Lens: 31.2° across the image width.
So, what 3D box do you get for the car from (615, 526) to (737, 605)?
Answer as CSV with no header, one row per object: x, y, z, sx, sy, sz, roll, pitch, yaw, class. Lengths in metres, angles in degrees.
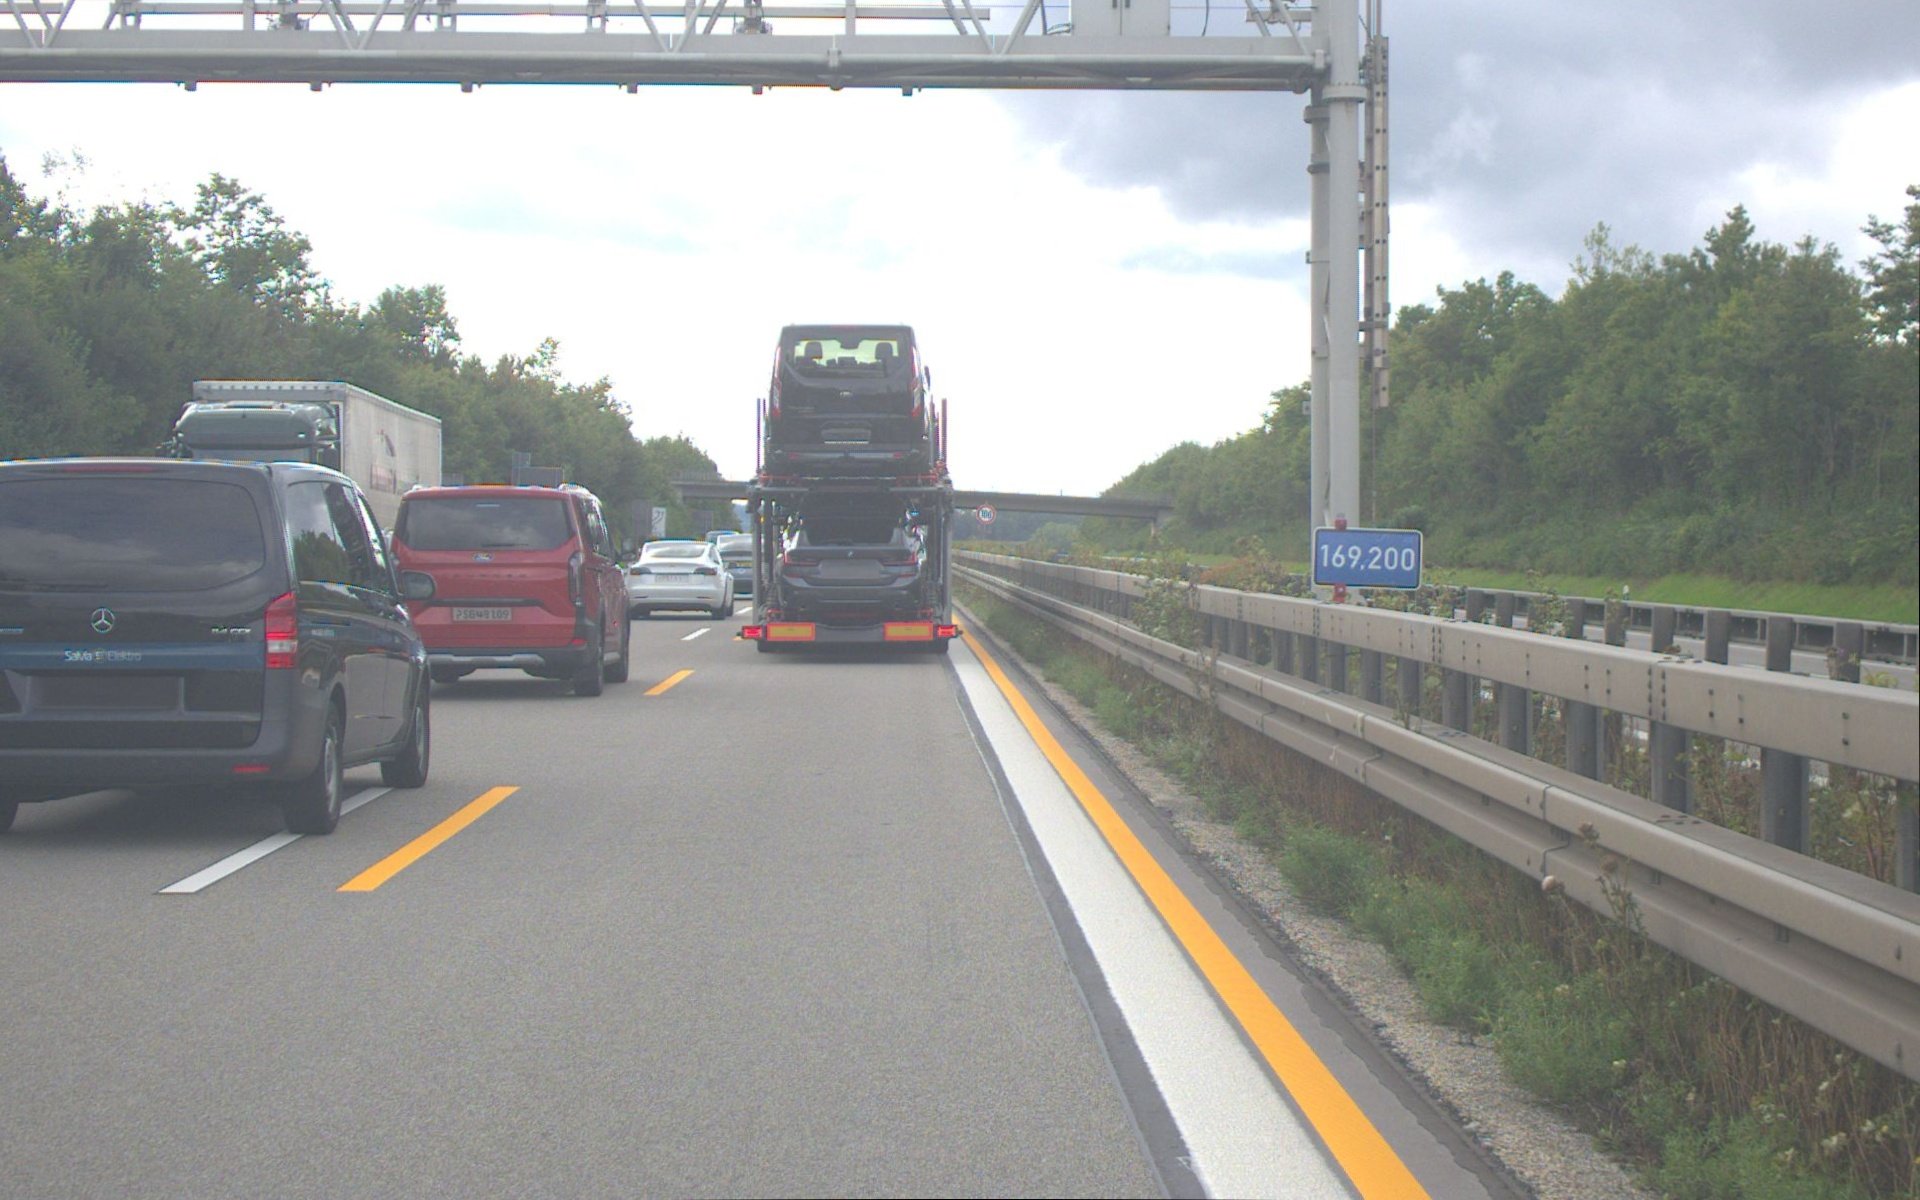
-5.252,-0.657,64.010,2.031,1.426,4.578,0,1,-2,car

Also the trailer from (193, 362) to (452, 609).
-11.813,-2.119,65.155,2.598,4.140,13.993,1,1,-1,trailer

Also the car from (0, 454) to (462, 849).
-4.074,0.192,18.803,1.993,1.837,5.610,0,1,-1,car

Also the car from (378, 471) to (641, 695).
-4.258,-0.192,33.165,2.031,2.007,4.578,0,1,-1,car

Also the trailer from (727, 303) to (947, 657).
-1.489,-1.480,45.483,2.515,4.091,11.114,1,1,-1,trailer

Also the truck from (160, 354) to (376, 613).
-11.662,-1.961,58.370,2.598,4.140,5.621,1,1,-1,truck

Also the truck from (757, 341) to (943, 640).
-1.542,-1.552,50.229,2.515,4.091,5.685,1,1,-1,truck

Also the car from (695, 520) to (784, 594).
-5.396,-1.069,84.475,2.031,1.751,4.578,0,1,-2,car
